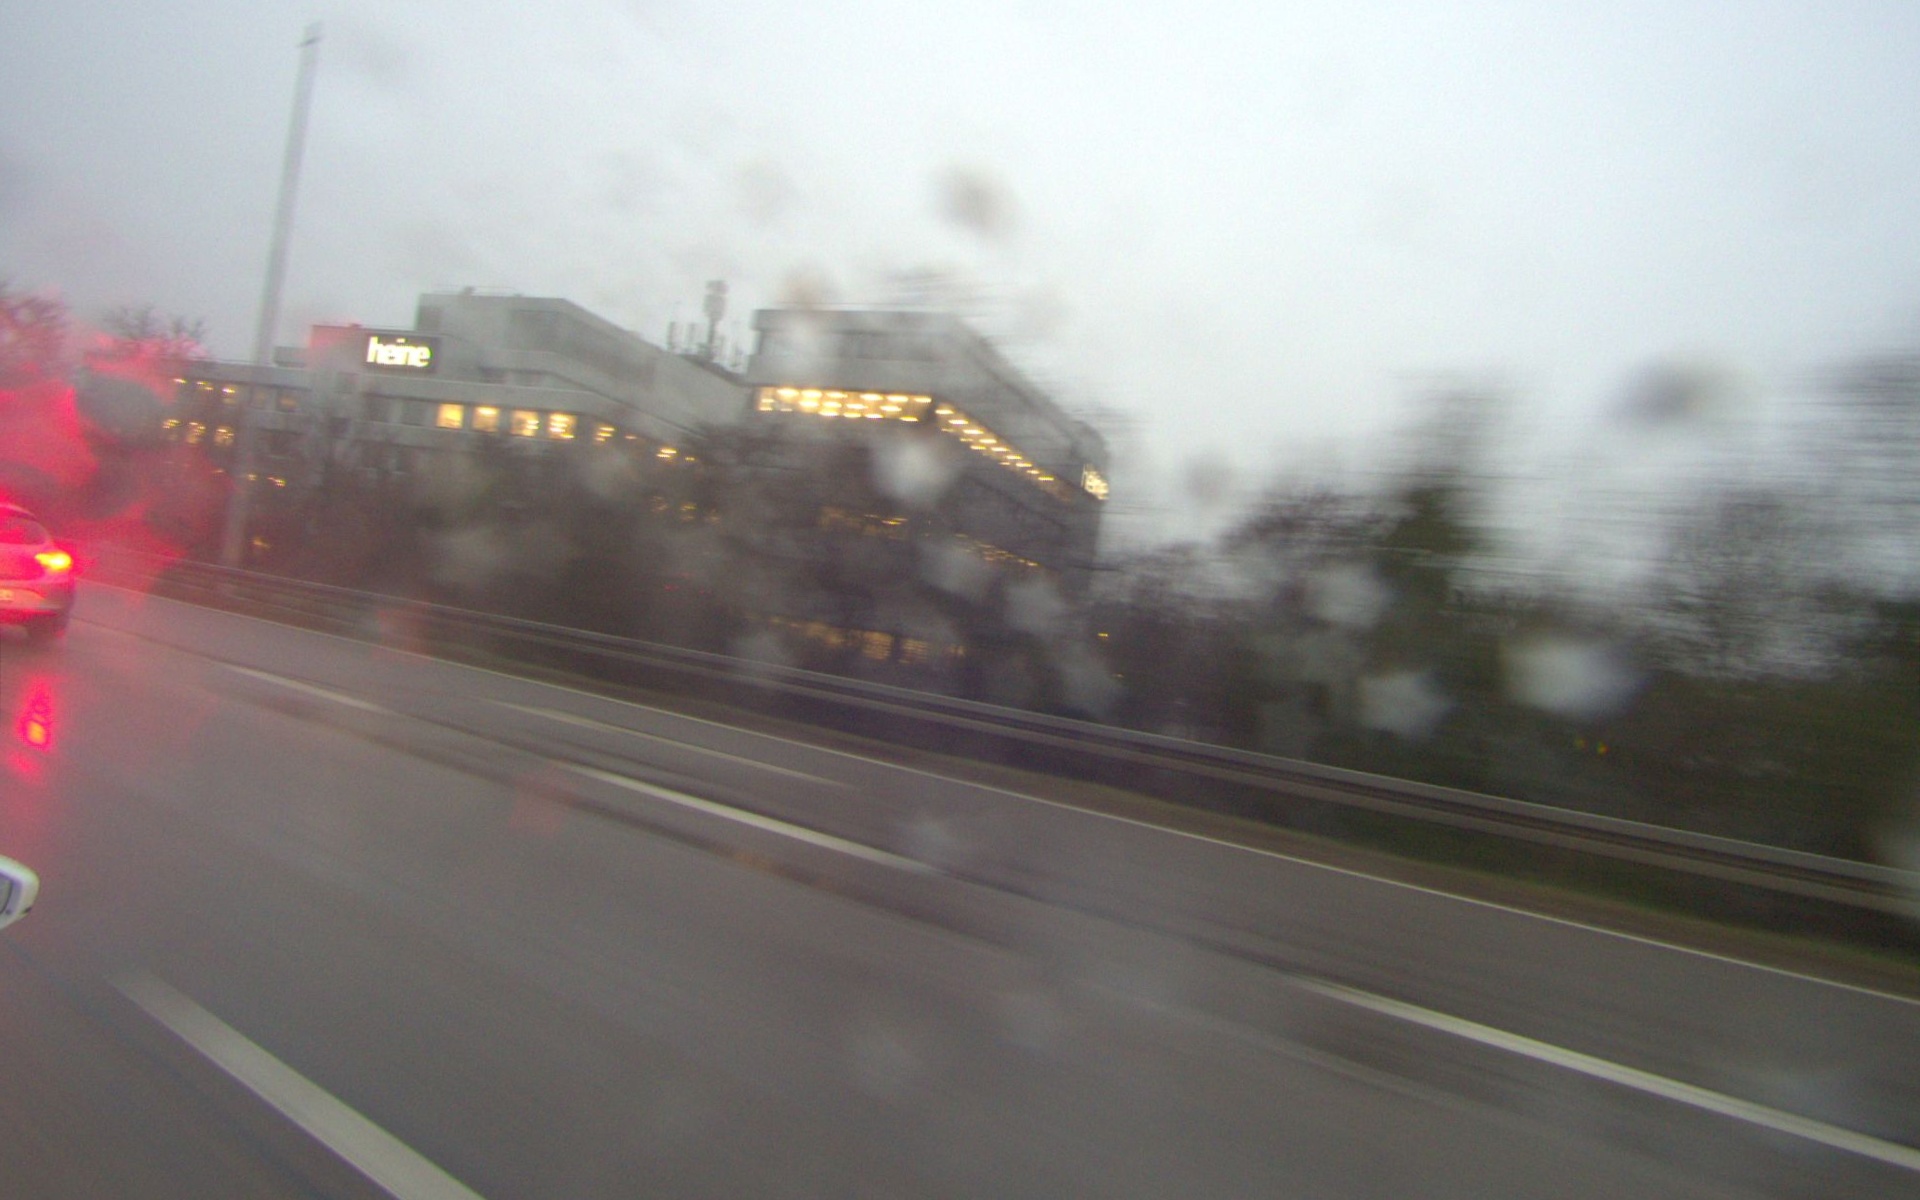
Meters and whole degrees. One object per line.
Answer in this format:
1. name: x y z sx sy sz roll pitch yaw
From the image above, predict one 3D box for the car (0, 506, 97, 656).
1. car: -11.830 -0.429 11.325 4.191 1.519 1.853 6 -2 31
